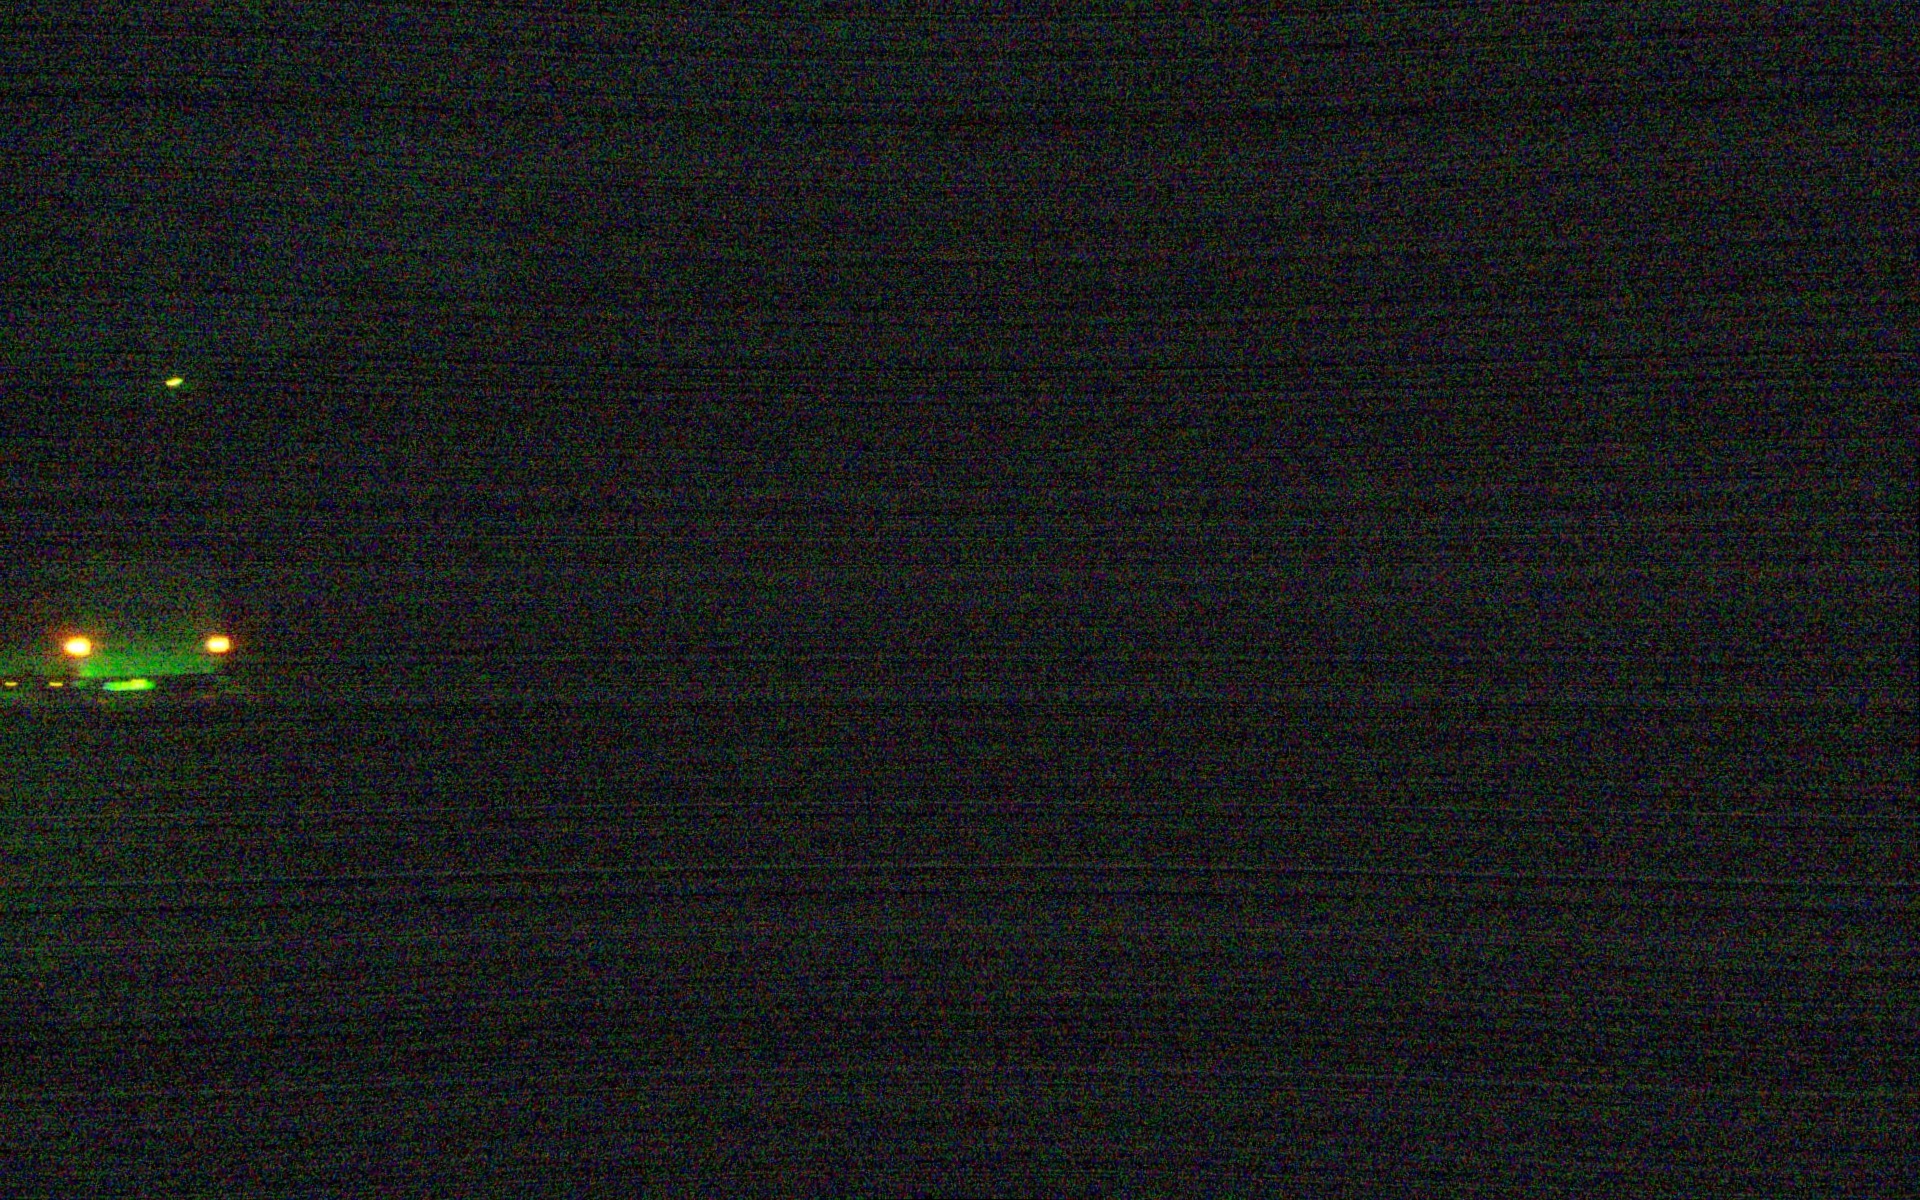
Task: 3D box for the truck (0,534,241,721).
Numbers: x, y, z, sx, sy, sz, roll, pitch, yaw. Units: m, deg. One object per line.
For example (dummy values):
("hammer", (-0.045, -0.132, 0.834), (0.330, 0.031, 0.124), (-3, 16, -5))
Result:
("truck", (-15.370, 0.554, 17.368), (7.203, 2.724, 2.074), (-2, -3, 31))
